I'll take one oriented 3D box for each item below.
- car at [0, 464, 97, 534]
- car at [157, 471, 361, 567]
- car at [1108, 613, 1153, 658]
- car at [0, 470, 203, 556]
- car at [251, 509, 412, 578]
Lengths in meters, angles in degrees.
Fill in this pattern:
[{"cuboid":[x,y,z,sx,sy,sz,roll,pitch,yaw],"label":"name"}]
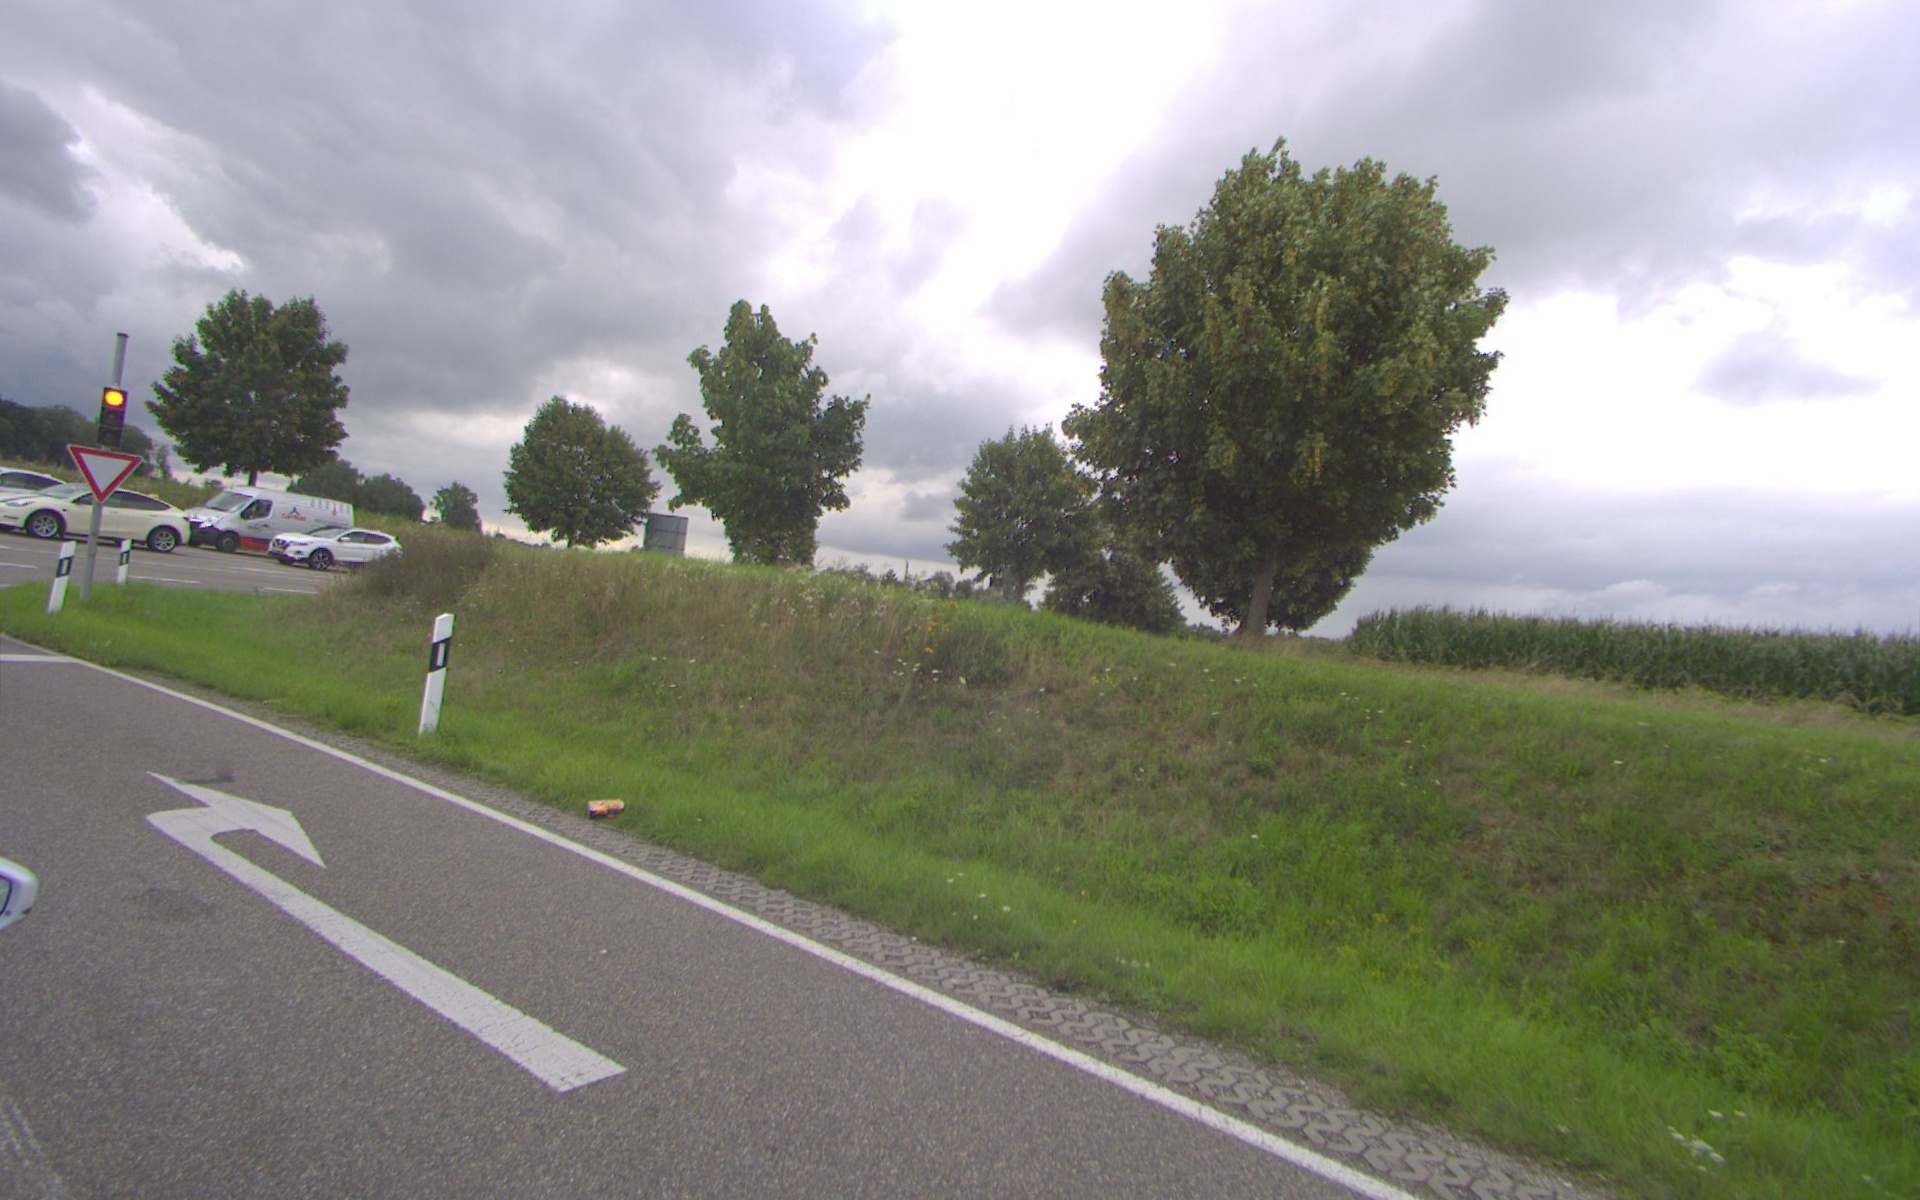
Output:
[{"cuboid":[-27.827,-3.102,28.737,1.963,1.647,4.278,8,-2,19],"label":"car"},{"cuboid":[-25.352,-2.855,36.692,2.354,2.470,5.517,8,-2,20],"label":"car"},{"cuboid":[9.170,1.917,53.823,1.962,2.037,4.005,7,-2,12],"label":"car"},{"cuboid":[-24.141,-2.395,27.785,1.963,1.582,4.752,8,-2,20],"label":"car"},{"cuboid":[-21.792,-1.926,35.087,1.963,1.648,4.326,8,-2,20],"label":"car"}]
